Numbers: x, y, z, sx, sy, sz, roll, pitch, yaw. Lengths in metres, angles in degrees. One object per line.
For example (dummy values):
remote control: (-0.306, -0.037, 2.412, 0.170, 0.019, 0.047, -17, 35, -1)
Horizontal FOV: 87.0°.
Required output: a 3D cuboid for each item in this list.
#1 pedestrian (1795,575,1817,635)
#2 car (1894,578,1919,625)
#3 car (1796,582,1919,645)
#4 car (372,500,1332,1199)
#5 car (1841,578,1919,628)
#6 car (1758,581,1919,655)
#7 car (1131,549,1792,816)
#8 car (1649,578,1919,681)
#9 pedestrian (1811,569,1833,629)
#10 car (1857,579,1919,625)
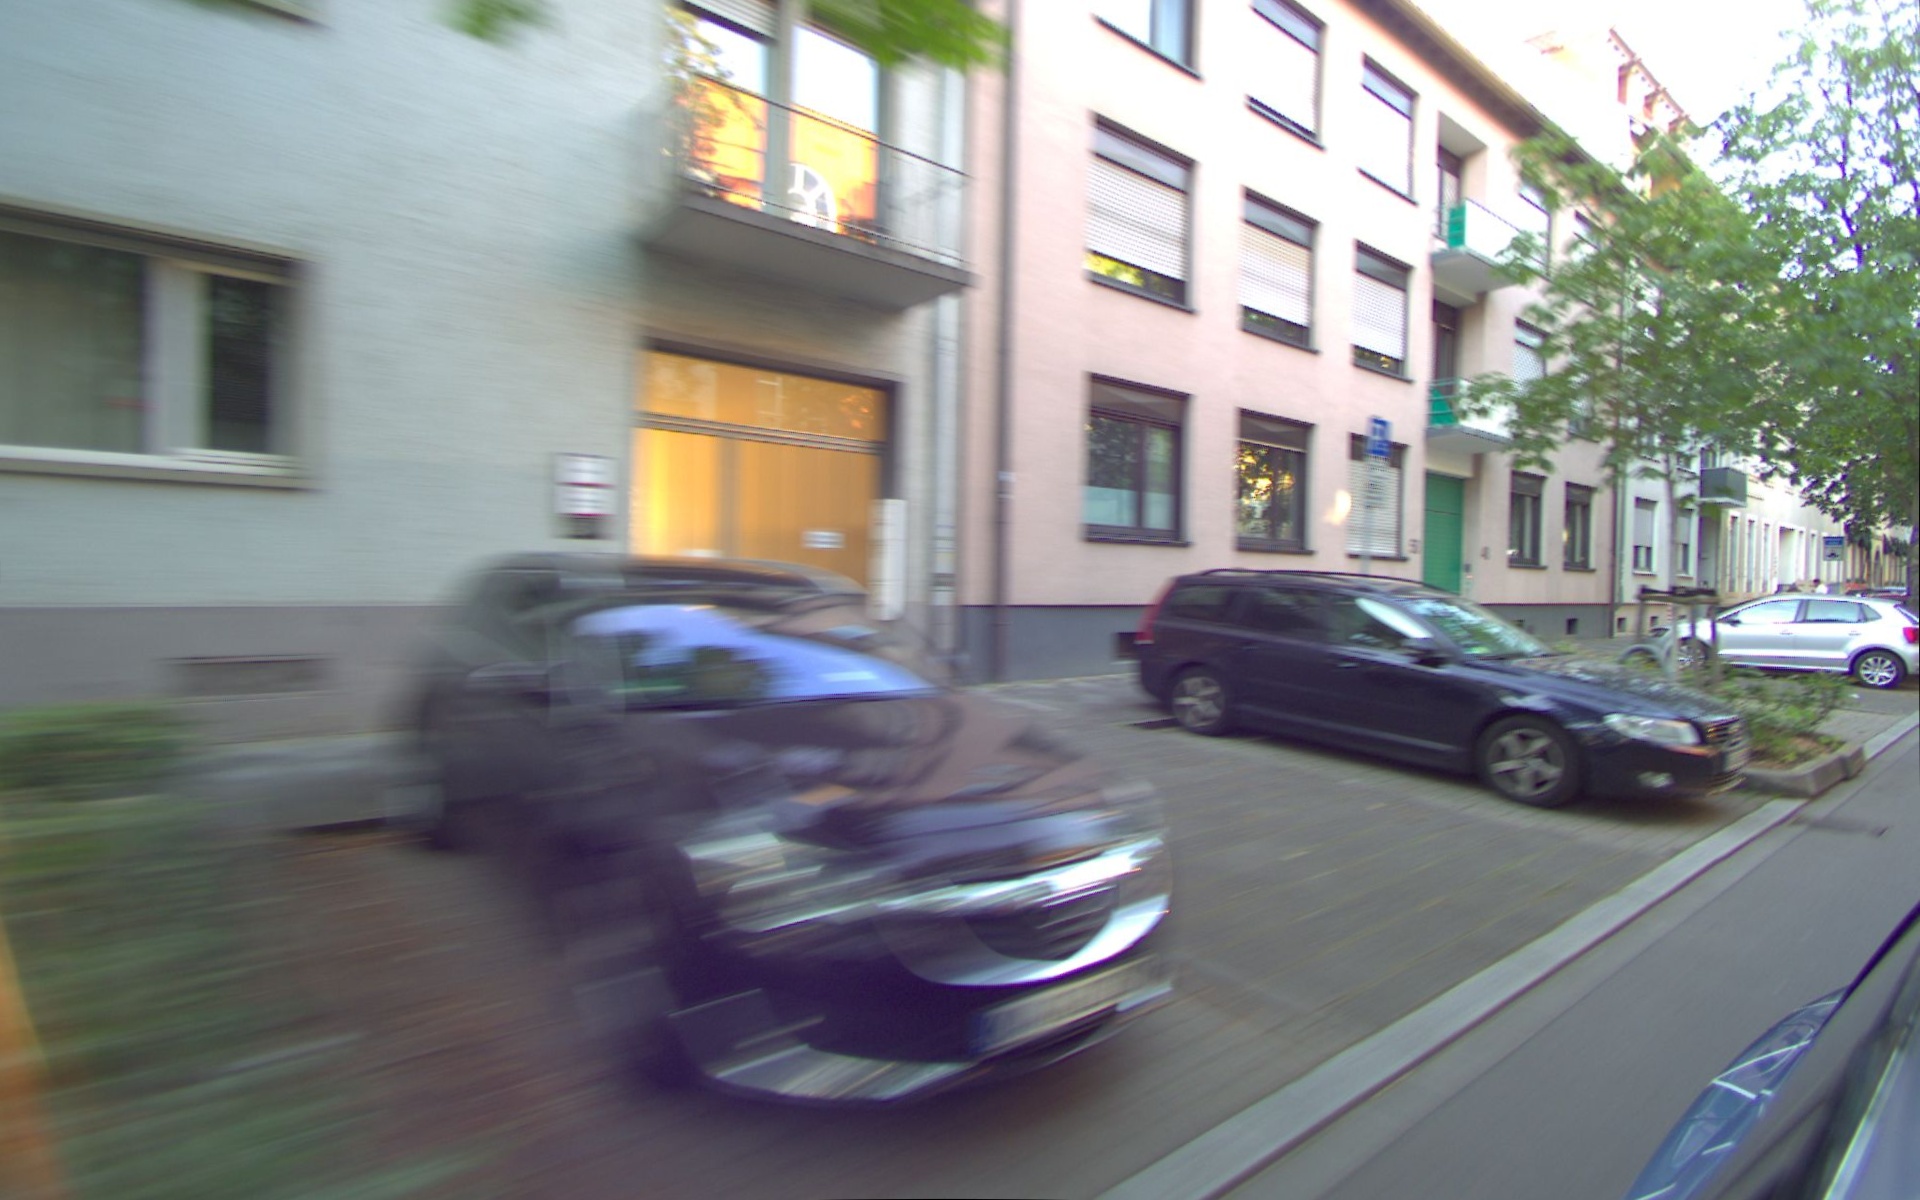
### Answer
pedestrian: (29.056, 0.151, 34.769, 0.476, 2.038, 0.449, 0, 2, -40)
car: (38.694, 0.122, 38.859, 1.966, 1.784, 3.992, 0, 2, -43)
car: (23.813, 0.364, 25.590, 1.645, 1.415, 3.859, 0, 3, -40)
car: (-0.996, 0.488, 4.278, 1.917, 1.542, 4.457, 0, 2, -39)
car: (30.021, 0.139, 31.369, 1.645, 1.415, 3.859, 0, 3, -40)
car: (20.141, 0.383, 22.161, 1.644, 1.415, 3.862, 0, 3, -37)
car: (3.740, 0.406, 8.402, 1.665, 1.487, 4.597, 0, 4, -39)
car: (14.203, 0.432, 17.172, 1.647, 1.415, 3.854, 0, 4, -44)
pedestrian: (29.669, -0.026, 34.828, 0.476, 2.038, 0.449, 0, 2, -40)
car: (31.657, 0.131, 32.609, 1.645, 1.415, 3.859, 0, 3, -40)
